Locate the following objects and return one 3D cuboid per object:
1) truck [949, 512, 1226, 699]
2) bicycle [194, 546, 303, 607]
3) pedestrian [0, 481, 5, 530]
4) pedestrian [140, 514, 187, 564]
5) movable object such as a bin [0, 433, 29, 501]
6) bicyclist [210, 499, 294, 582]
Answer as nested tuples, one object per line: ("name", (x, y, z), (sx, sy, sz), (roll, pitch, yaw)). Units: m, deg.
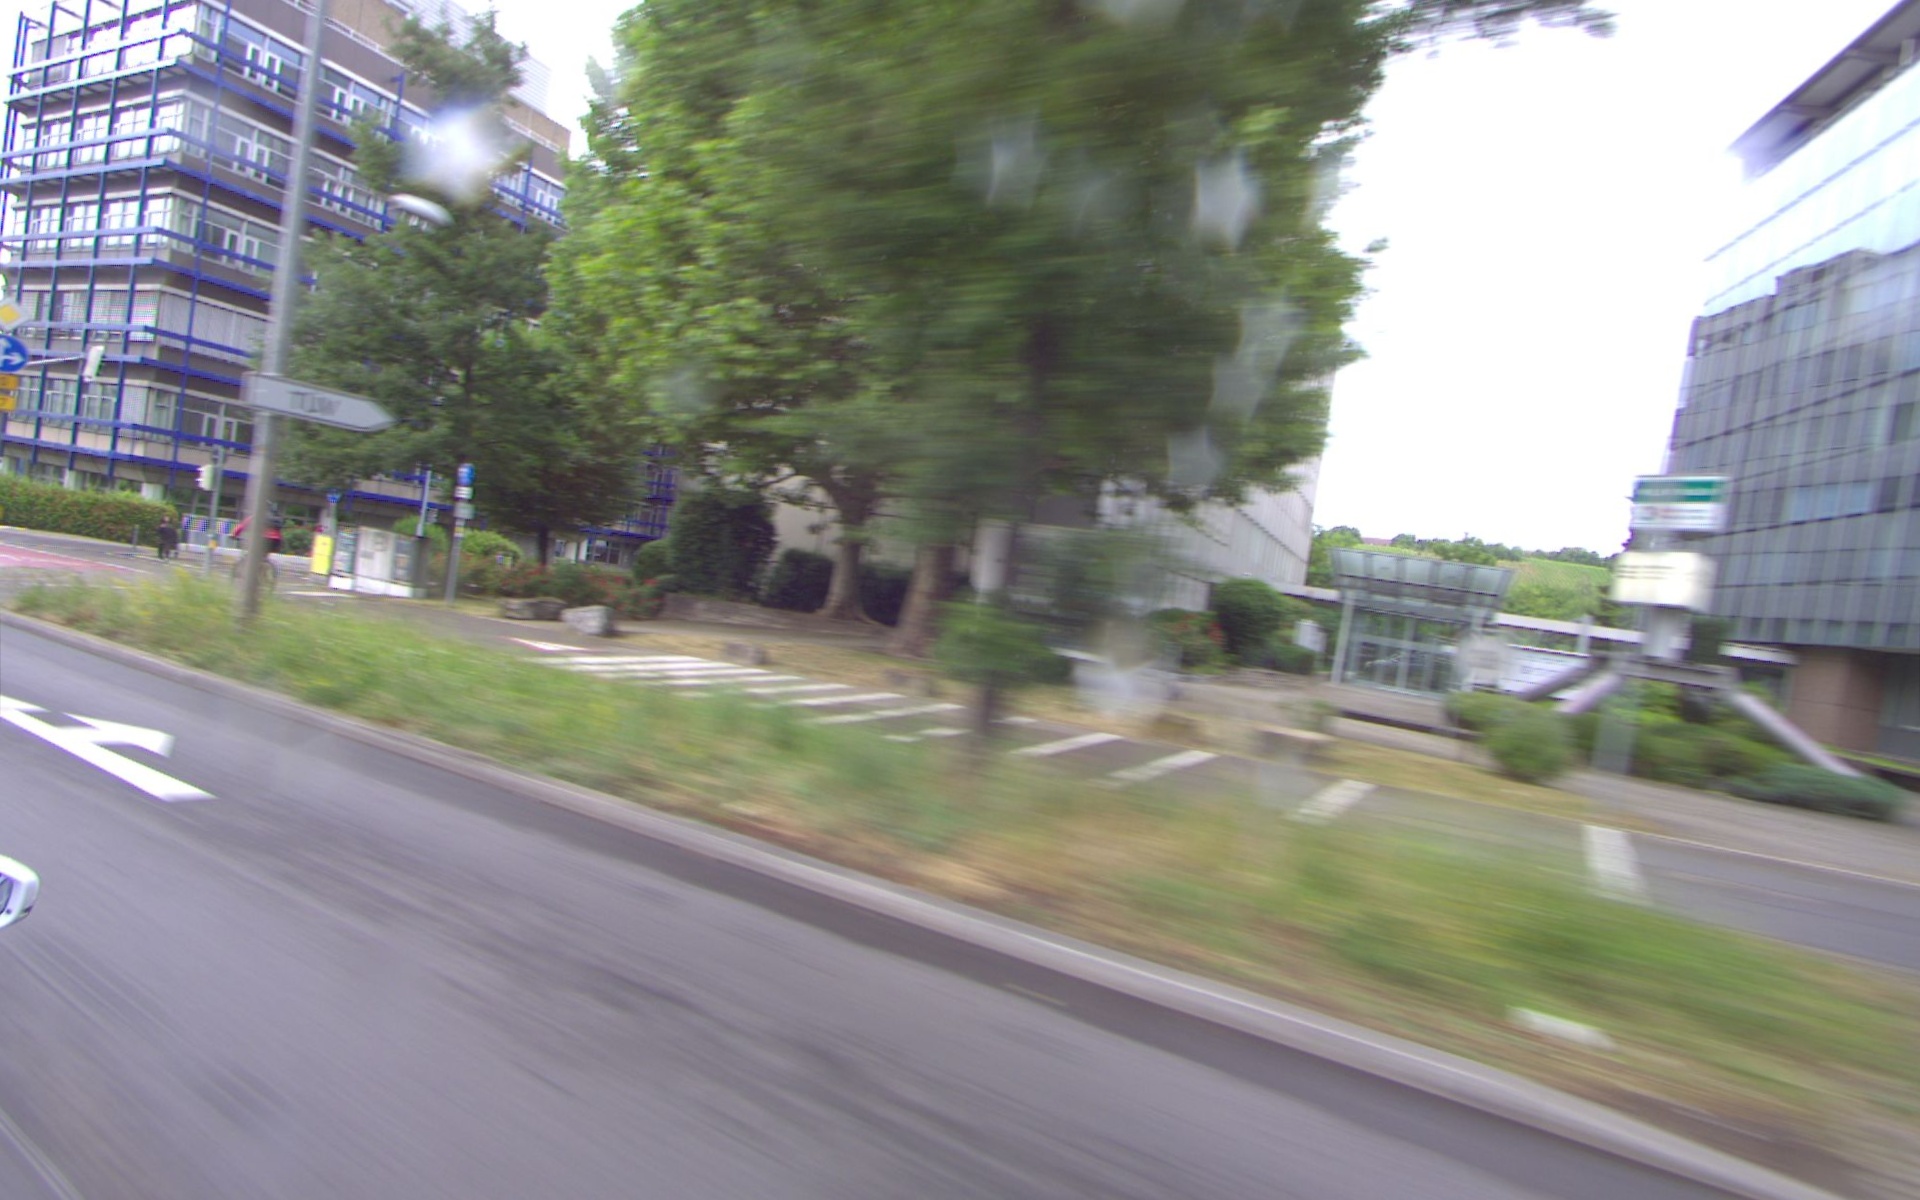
("truck", (2.093, 0.072, 16.641), (3.931, 2.547, 1.751), (6, -2, 28))
("bicycle", (-12.593, -0.427, 17.773), (2.280, 0.818, 0.668), (6, -2, 32))
("pedestrian", (-33.074, -3.267, 34.160), (0.817, 1.673, 0.555), (7, 1, 22))
("pedestrian", (-26.924, -2.038, 34.019), (0.891, 1.560, 0.796), (7, 0, -19))
("movable object such as a bin", (-82.947, -11.517, 80.080), (3.727, 5.326, 12.152), (6, 0, 32))
("bicyclist", (-12.473, -1.053, 17.728), (1.199, 1.303, 0.656), (7, -2, 32))
